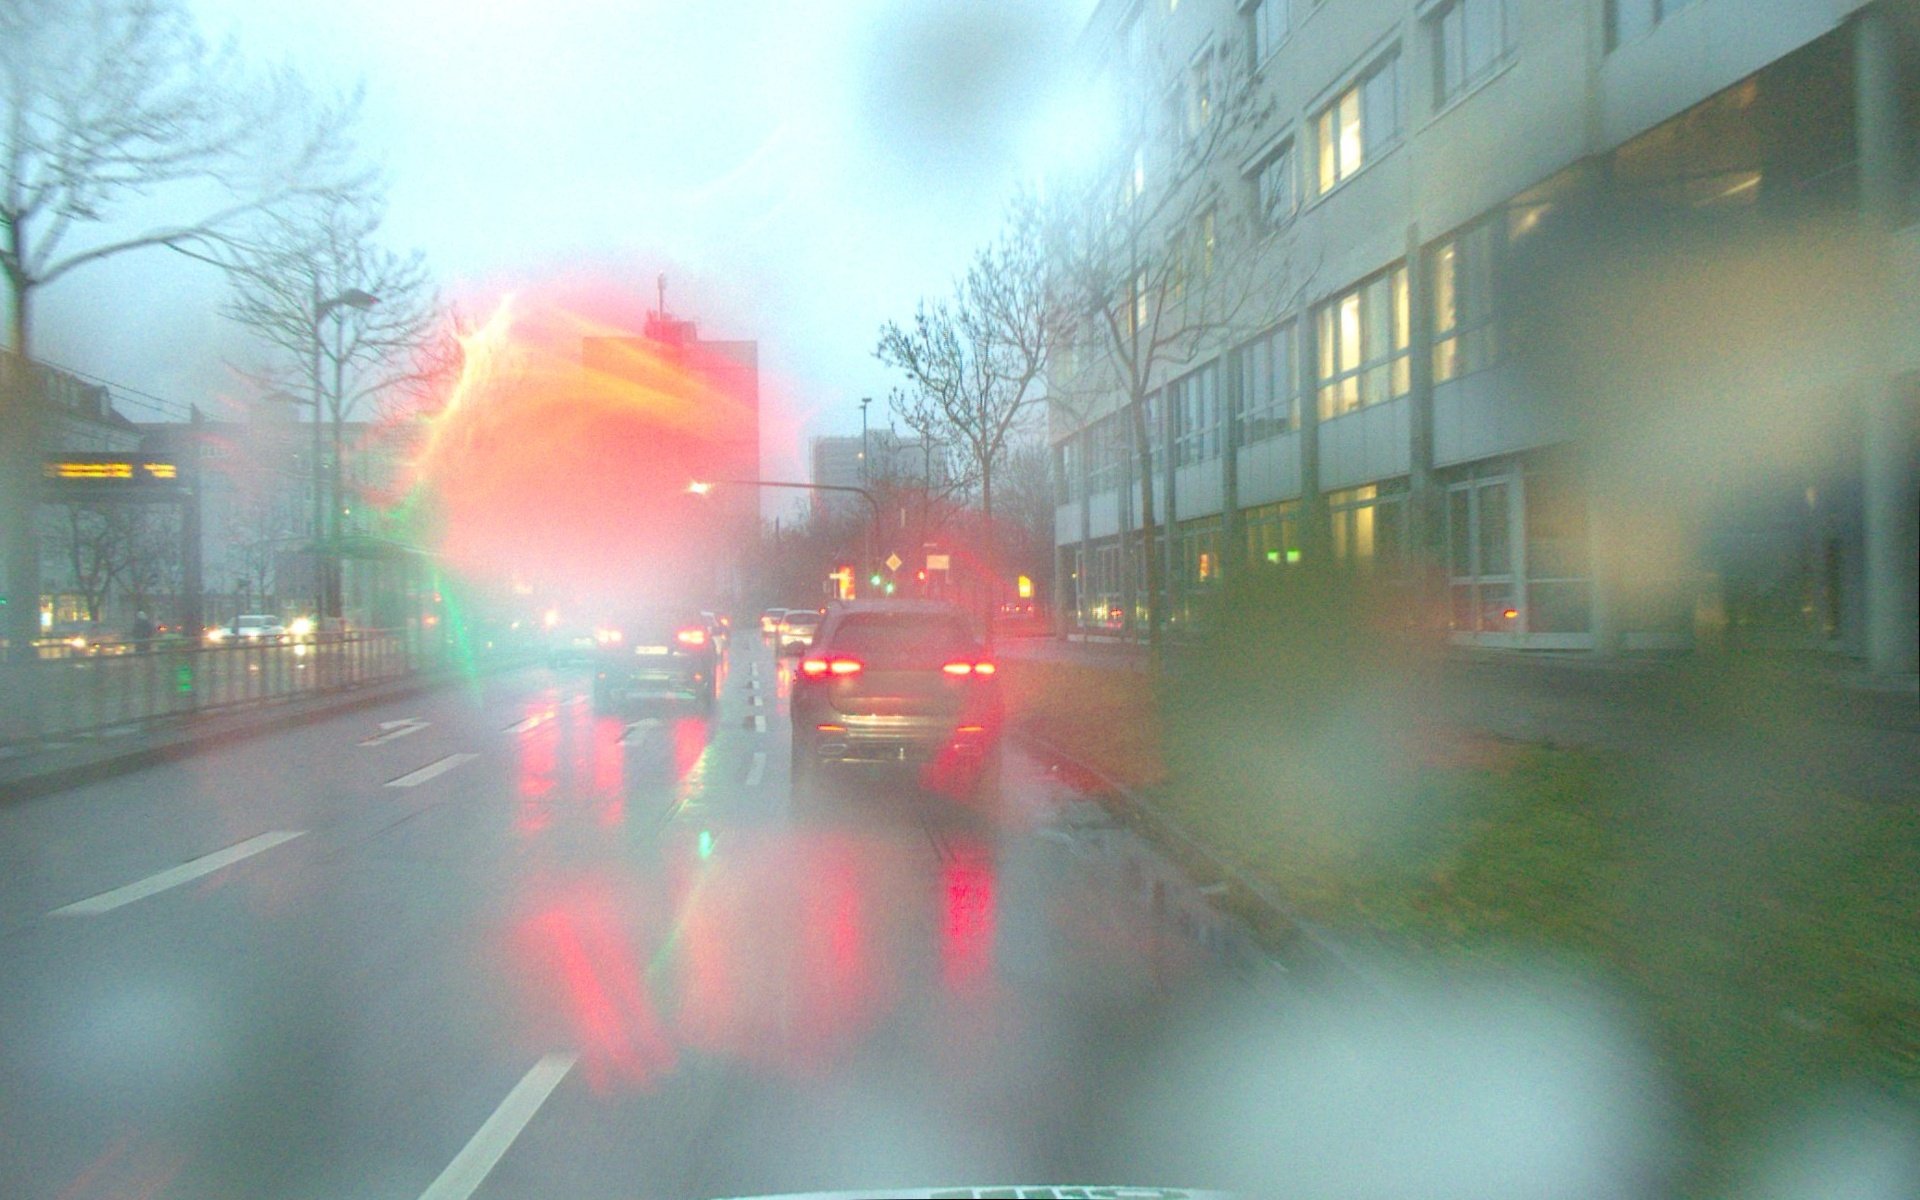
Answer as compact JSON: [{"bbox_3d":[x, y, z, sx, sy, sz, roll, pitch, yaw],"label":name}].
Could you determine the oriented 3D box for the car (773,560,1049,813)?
[{"bbox_3d":[-0.600,0.753,15.308,1.957,2.010,4.057,1,-2,-10],"label":"car"}]

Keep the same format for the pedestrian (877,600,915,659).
[{"bbox_3d":[-2.019,0.919,52.325,0.779,1.780,0.862,-5,0,19],"label":"pedestrian"}]

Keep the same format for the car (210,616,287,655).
[{"bbox_3d":[-28.900,1.451,67.285,1.724,1.523,3.755,1,-2,-4],"label":"car"}]

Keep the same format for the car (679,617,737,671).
[{"bbox_3d":[-9.940,1.738,65.419,1.955,2.049,3.995,1,-2,-5],"label":"car"}]

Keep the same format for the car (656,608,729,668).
[{"bbox_3d":[-7.816,1.139,48.579,1.956,1.671,4.015,1,-2,-7],"label":"car"}]

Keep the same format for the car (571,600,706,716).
[{"bbox_3d":[-5.230,0.948,27.367,1.956,1.742,4.315,1,-2,-8],"label":"car"}]

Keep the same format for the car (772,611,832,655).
[{"bbox_3d":[-5.334,1.077,55.607,1.851,1.377,4.094,1,0,-8],"label":"car"}]

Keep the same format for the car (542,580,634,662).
[{"bbox_3d":[-9.922,0.560,44.464,1.915,2.069,4.875,0,-1,-7],"label":"car"}]
